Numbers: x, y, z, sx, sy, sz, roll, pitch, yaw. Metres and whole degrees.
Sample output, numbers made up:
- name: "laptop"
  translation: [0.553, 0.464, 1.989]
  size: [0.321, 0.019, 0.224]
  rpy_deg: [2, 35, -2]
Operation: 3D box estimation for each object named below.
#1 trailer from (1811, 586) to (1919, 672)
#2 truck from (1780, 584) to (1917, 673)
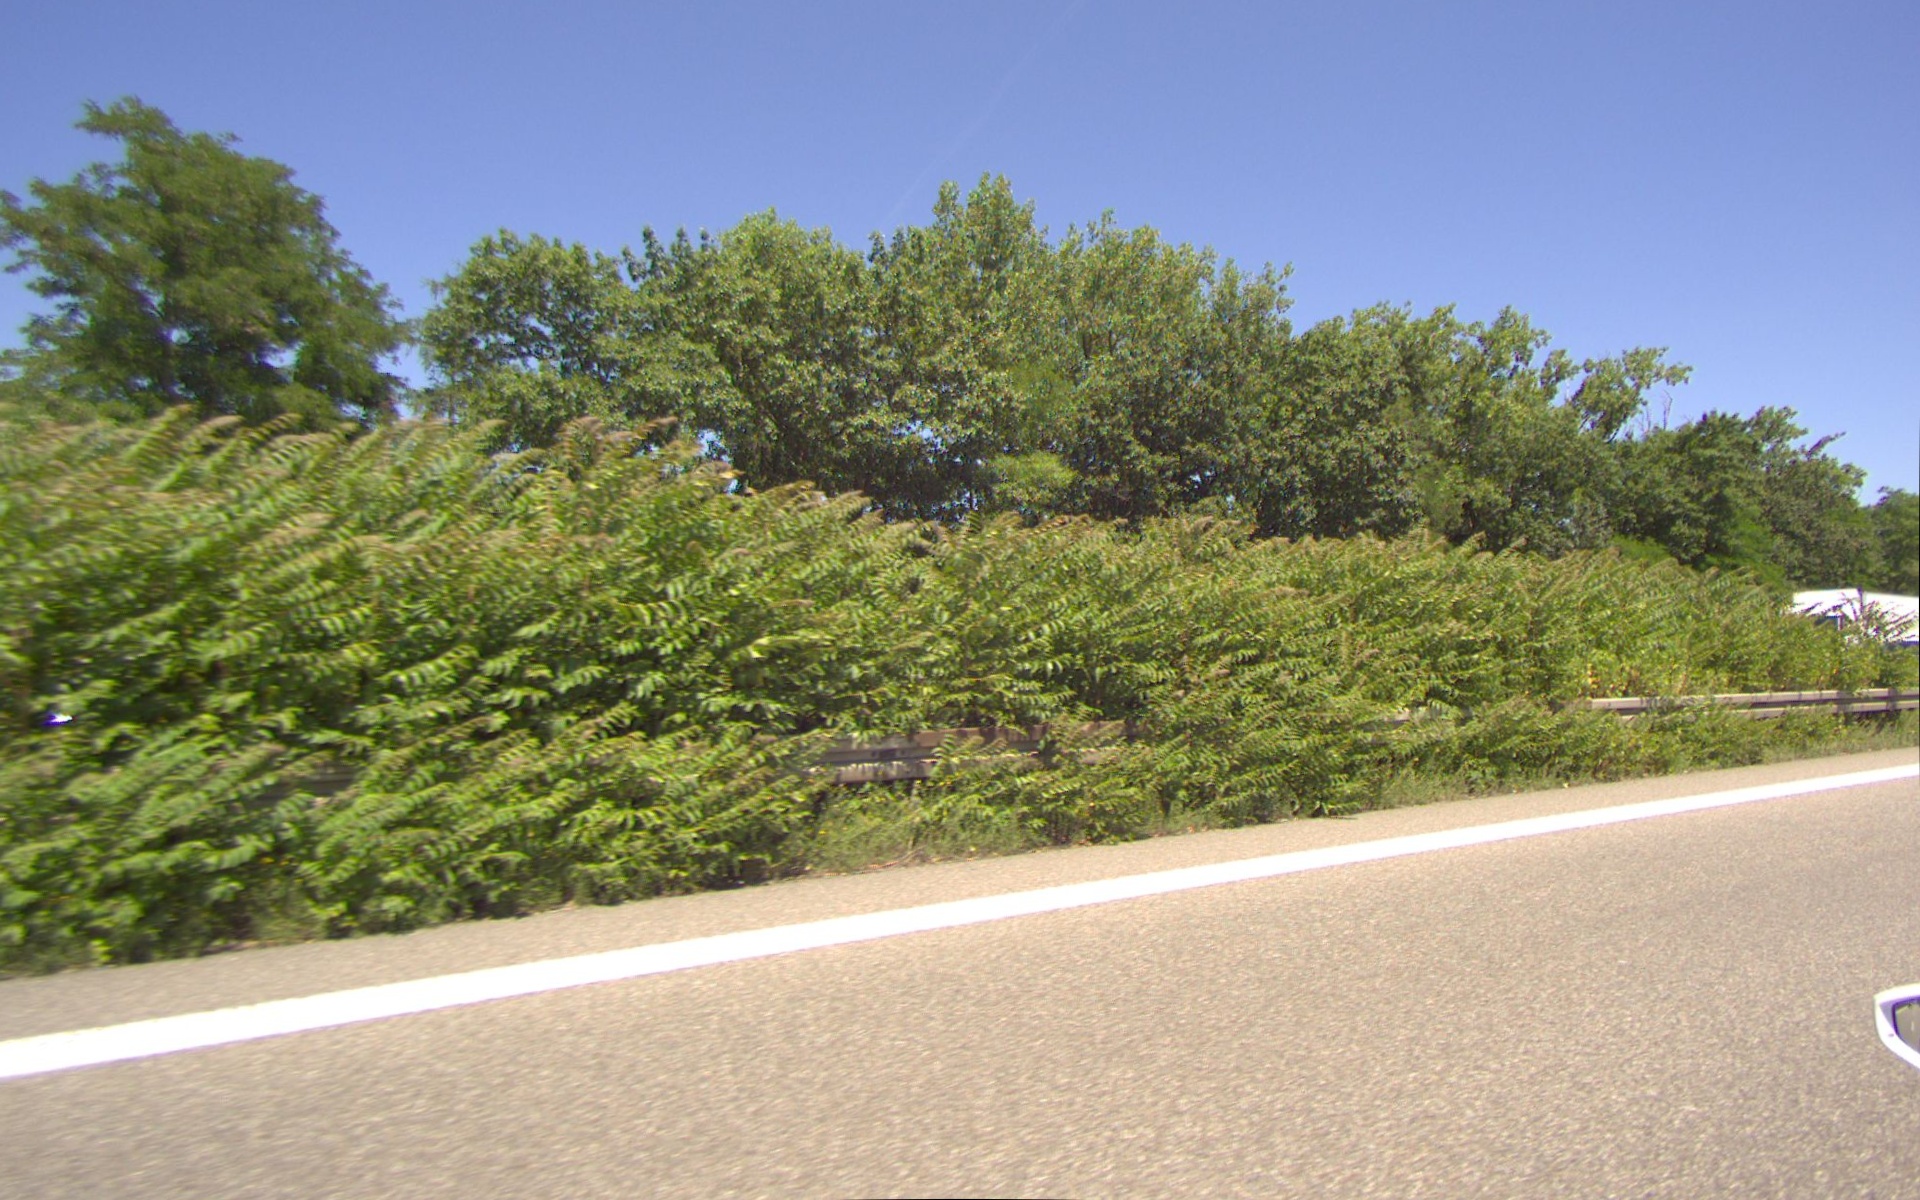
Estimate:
- name: "trailer"
  translation: [46.707, 1.421, 49.969]
  size: [12.605, 3.909, 2.651]
  rpy_deg: [1, 0, -31]
- name: "truck"
  translation: [41.501, 1.302, 46.858]
  size: [7.247, 3.909, 2.652]
  rpy_deg: [1, 0, -31]
